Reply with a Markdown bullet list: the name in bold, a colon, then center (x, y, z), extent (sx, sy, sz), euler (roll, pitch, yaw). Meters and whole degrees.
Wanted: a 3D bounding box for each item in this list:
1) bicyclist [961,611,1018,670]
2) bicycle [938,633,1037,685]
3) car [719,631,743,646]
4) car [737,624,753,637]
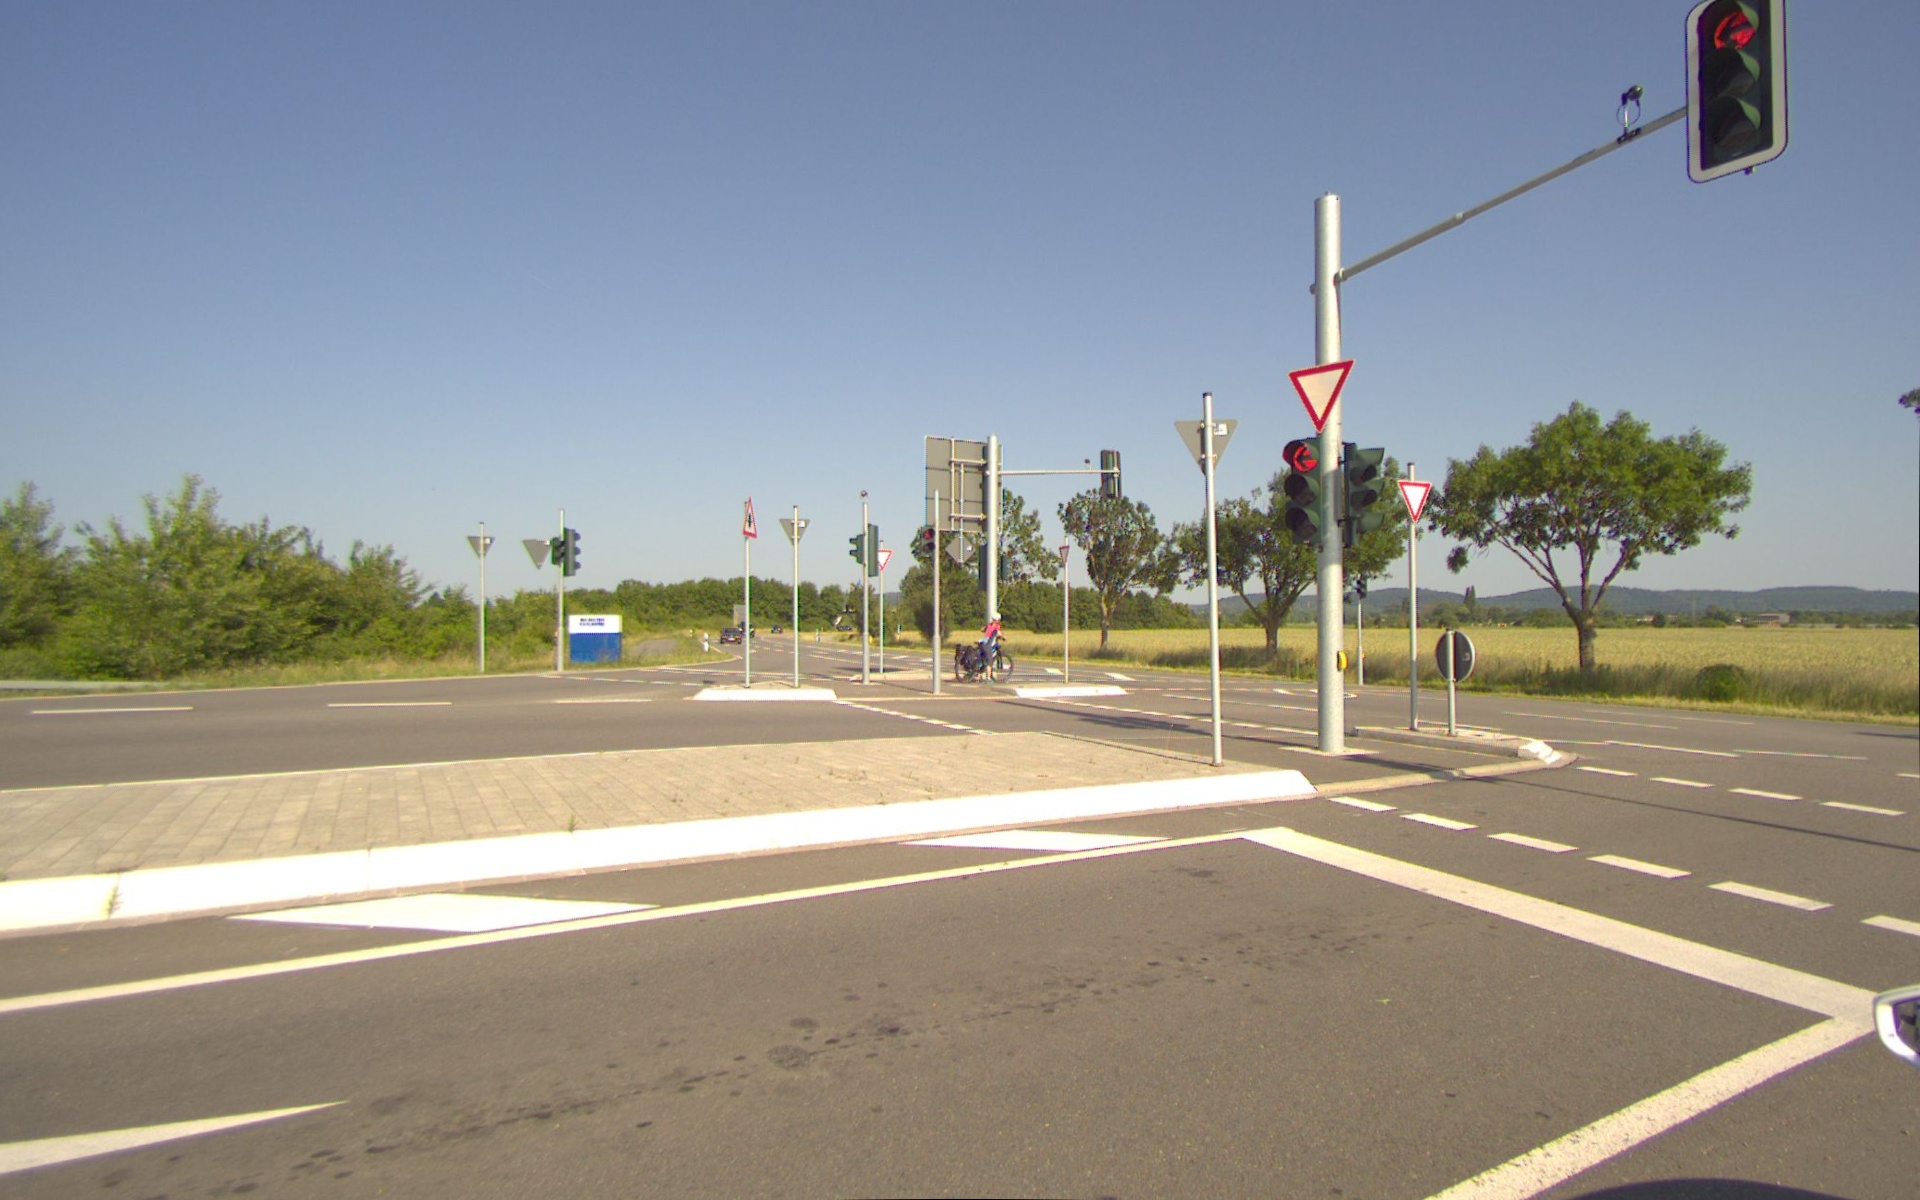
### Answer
- **bicyclist**: center (0.708, 0.981, 24.282), extent (1.062, 1.369, 0.851), euler (2, -1, -31)
- **bicycle**: center (0.666, 1.421, 24.262), extent (2.126, 1.164, 1.065), euler (3, -1, -31)
- **car**: center (-18.755, 3.139, 82.020), extent (1.711, 1.127, 3.988), euler (2, -2, -15)
- **car**: center (-27.579, 3.886, 128.807), extent (1.829, 1.562, 3.994), euler (1, -2, -10)
